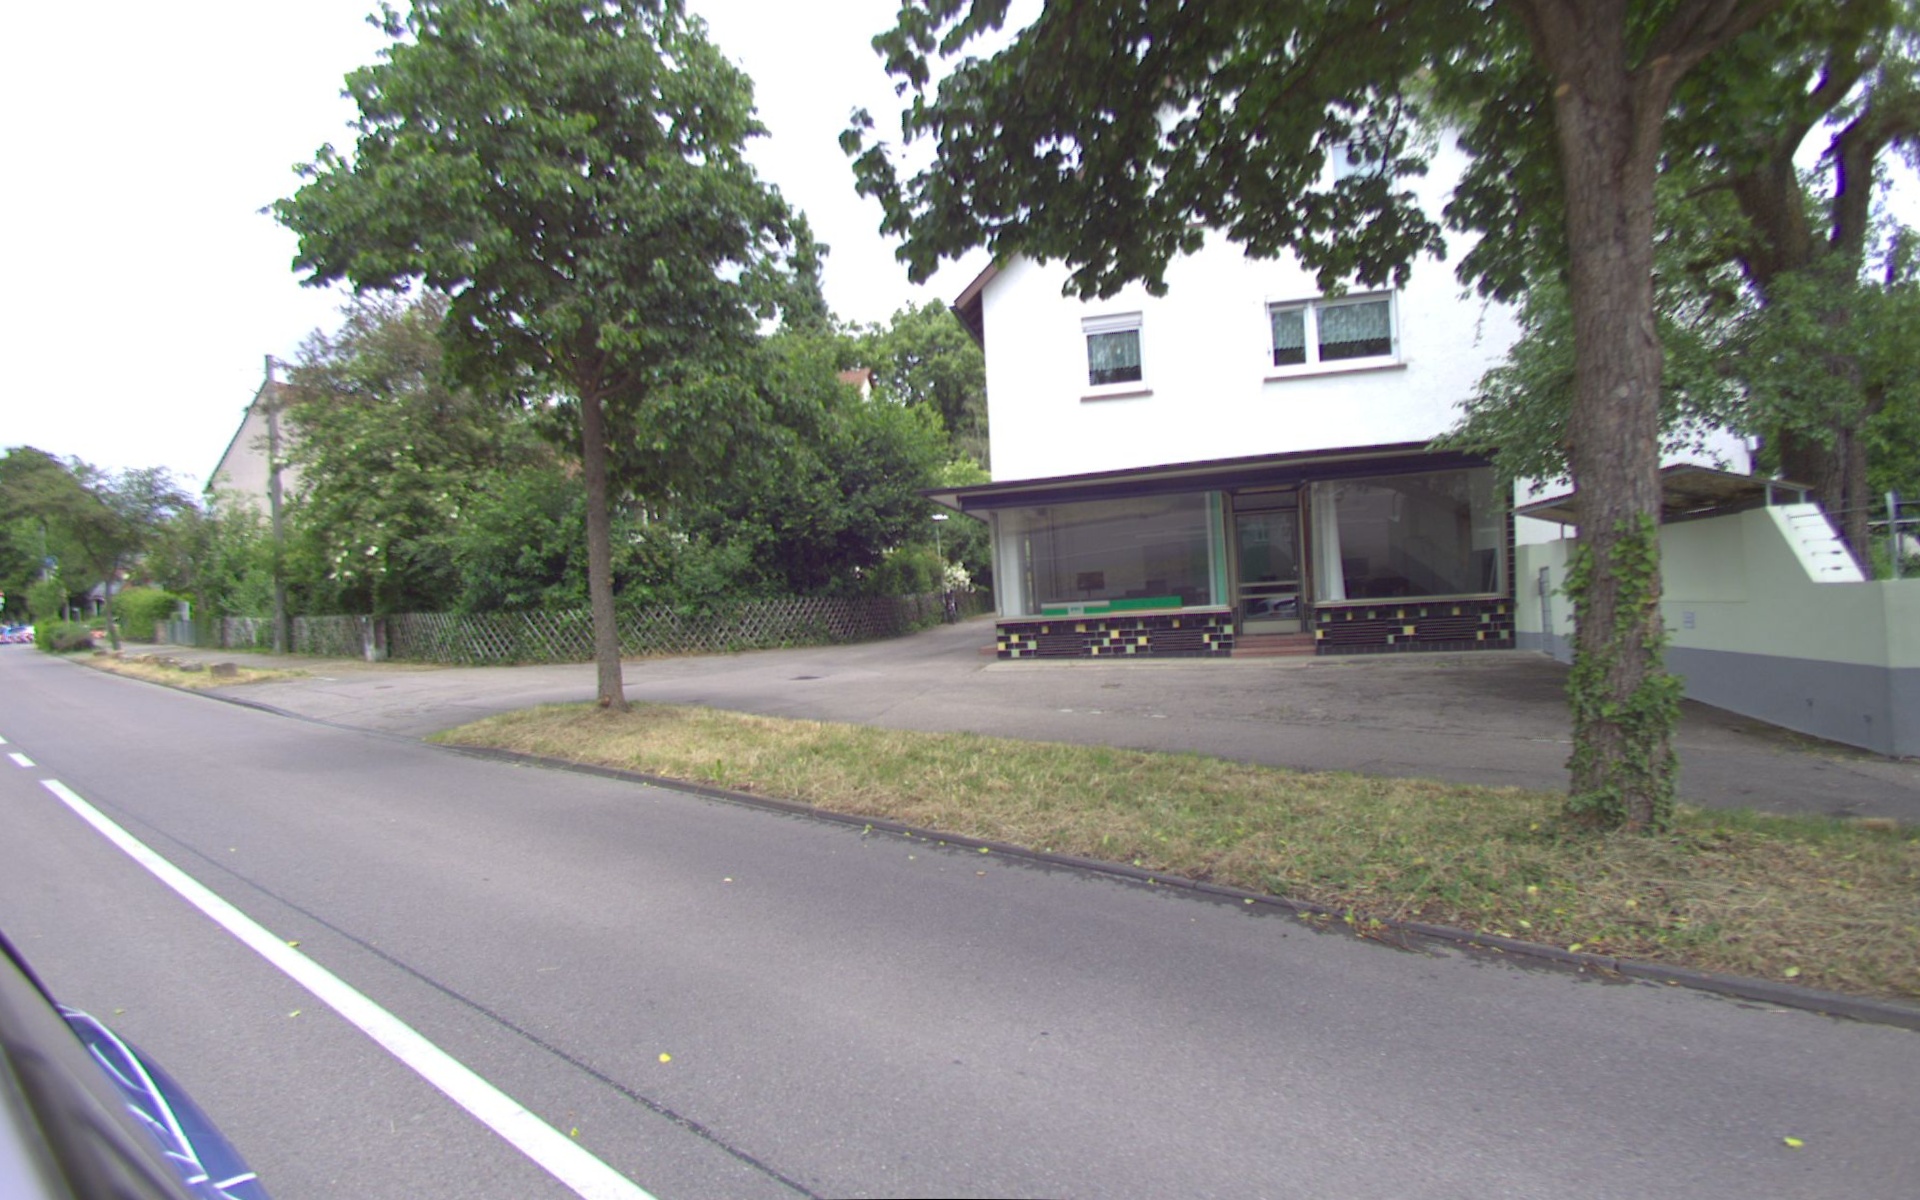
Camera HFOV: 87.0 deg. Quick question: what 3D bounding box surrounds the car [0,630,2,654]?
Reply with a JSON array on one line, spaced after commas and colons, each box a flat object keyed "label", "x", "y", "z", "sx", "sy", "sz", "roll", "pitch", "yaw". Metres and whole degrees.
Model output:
[{"label": "car", "x": -81.195, "y": 3.572, "z": 84.336, "sx": 1.894, "sy": 2.004, "sz": 4.803, "roll": -2, "pitch": -1, "yaw": -44}]

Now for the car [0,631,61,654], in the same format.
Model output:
[{"label": "car", "x": -74.132, "y": 3.369, "z": 80.154, "sx": 1.844, "sy": 1.558, "sz": 4.122, "roll": -4, "pitch": -1, "yaw": 40}]

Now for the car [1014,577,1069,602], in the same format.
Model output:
[{"label": "car", "x": 5.375, "y": -0.718, "z": 66.841, "sx": 3.557, "sy": 1.519, "sz": 1.632, "roll": -2, "pitch": 0, "yaw": 5}]

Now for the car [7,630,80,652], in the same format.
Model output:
[{"label": "car", "x": -71.692, "y": 3.191, "z": 79.182, "sx": 1.840, "sy": 1.483, "sz": 3.861, "roll": -4, "pitch": -1, "yaw": 33}]
